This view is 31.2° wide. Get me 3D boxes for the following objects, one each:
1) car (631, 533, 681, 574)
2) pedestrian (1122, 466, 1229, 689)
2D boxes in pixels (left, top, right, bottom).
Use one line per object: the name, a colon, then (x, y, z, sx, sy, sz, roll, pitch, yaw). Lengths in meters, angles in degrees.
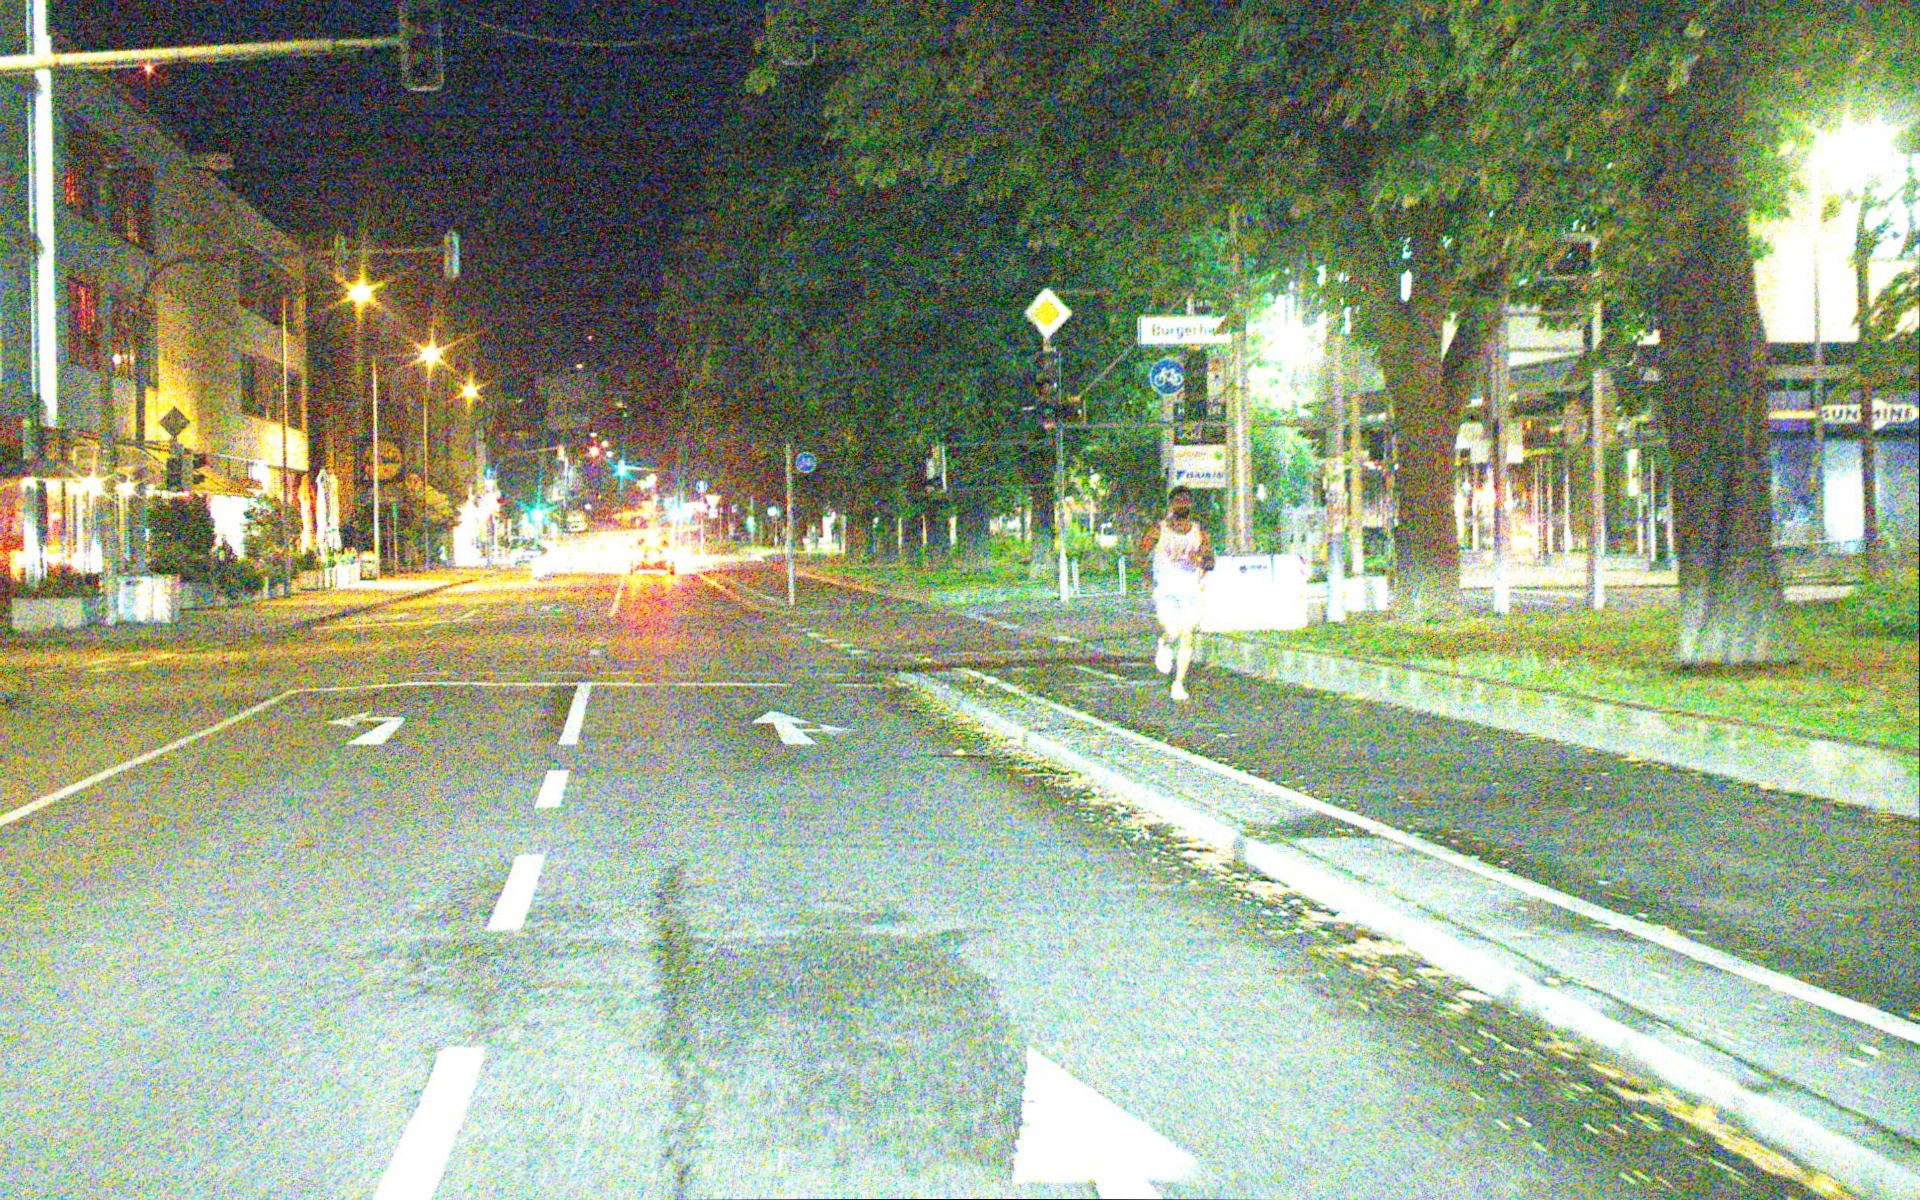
car: (-12.675, -1.959, 143.229, 1.993, 1.637, 4.001, -2, 1, -6)
pedestrian: (1.793, -0.198, 28.765, 0.702, 1.812, 1.082, -1, 1, -5)
